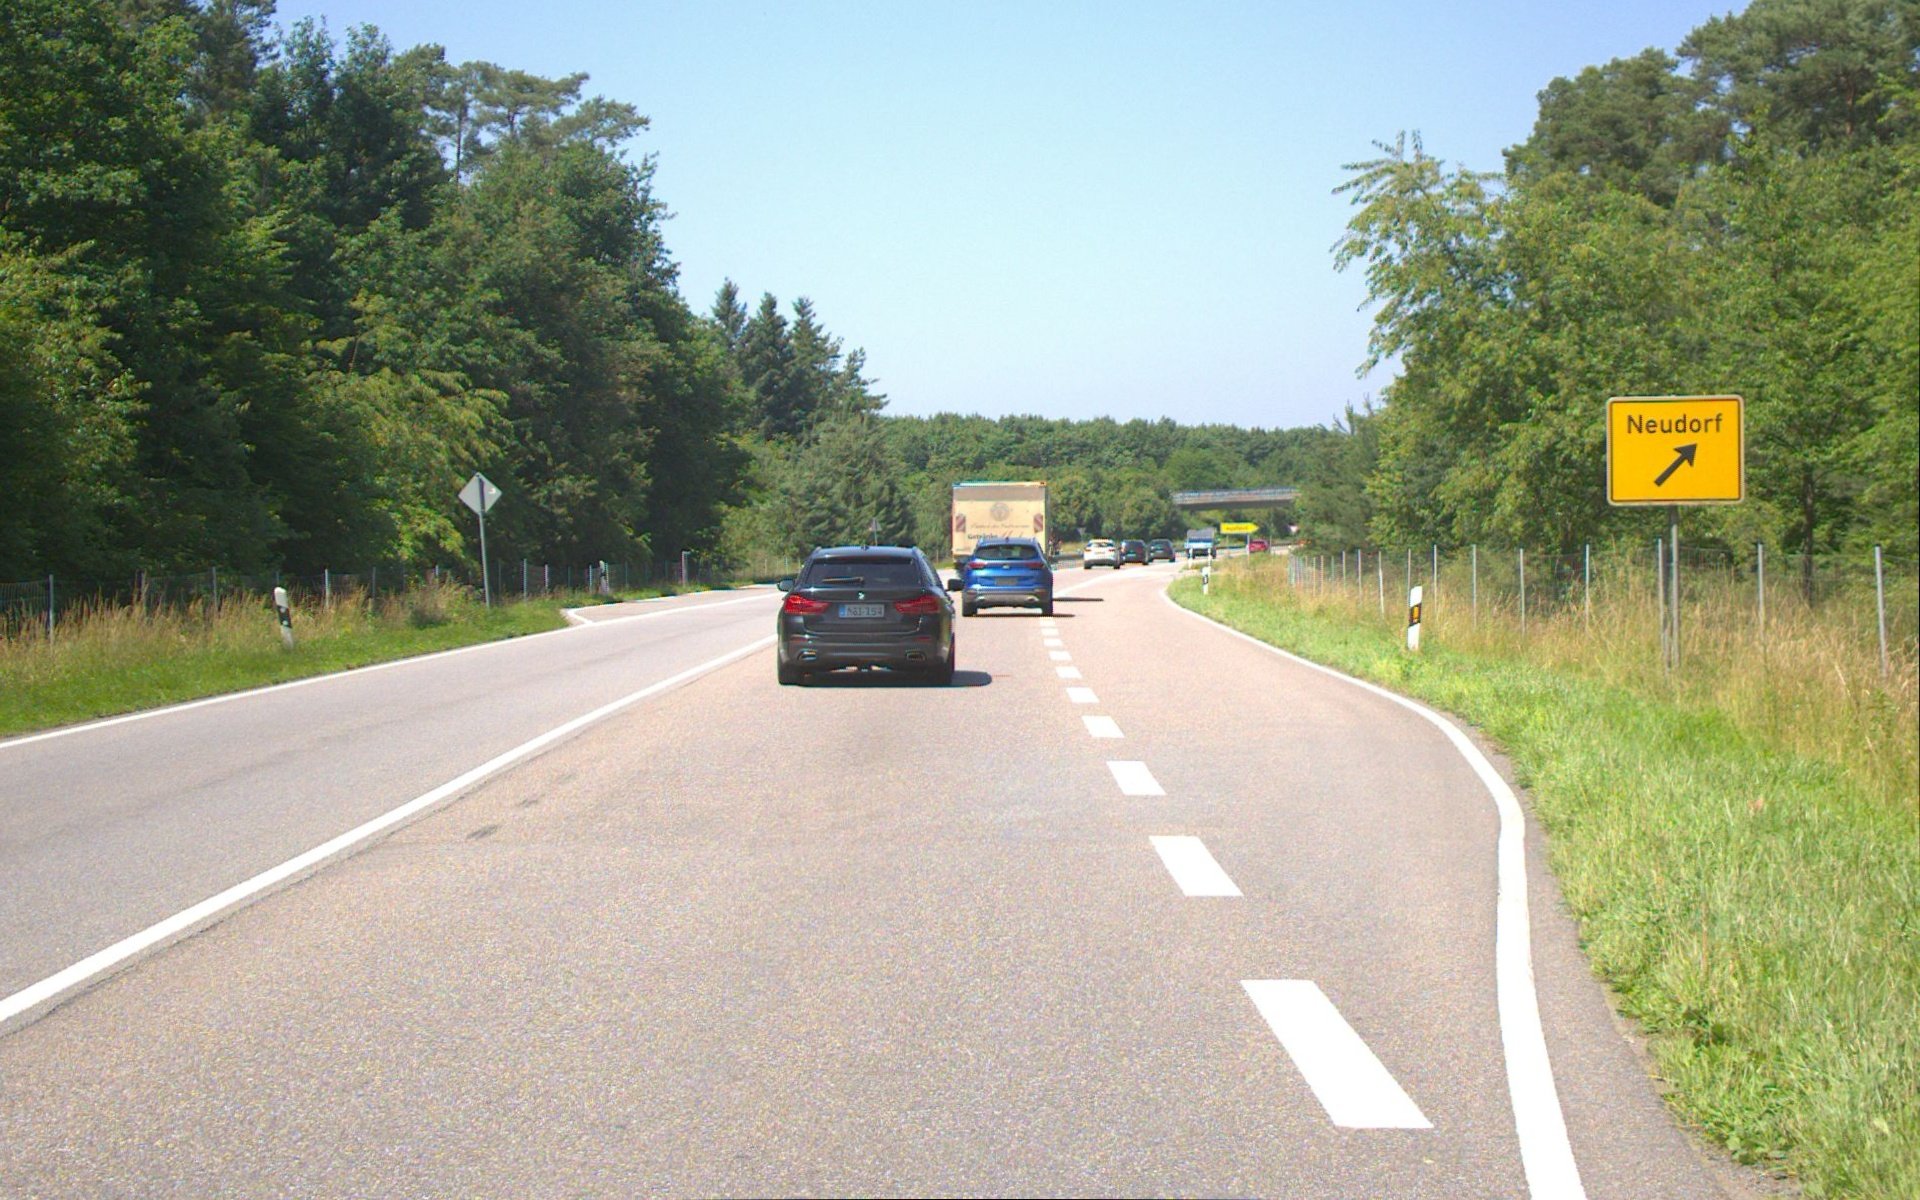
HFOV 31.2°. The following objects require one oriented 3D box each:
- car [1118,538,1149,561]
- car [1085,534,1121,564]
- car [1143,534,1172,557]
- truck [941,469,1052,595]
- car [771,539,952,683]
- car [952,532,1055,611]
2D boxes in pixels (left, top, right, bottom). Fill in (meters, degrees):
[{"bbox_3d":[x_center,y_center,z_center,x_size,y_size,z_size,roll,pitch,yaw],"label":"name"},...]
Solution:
[{"bbox_3d":[11.138,-3.262,220.692,1.994,1.415,4.000,1,1,3],"label":"car"},{"bbox_3d":[7.968,-2.863,191.778,1.863,1.600,4.000,-2,1,1],"label":"car"},{"bbox_3d":[14.167,-3.918,246.600,1.994,1.631,4.000,-1,1,4],"label":"car"},{"bbox_3d":[1.010,-1.902,95.543,2.965,3.376,6.438,0,1,1],"label":"truck"},{"bbox_3d":[-1.124,0.075,37.476,1.820,1.465,4.001,-1,1,-4],"label":"car"},{"bbox_3d":[0.875,-0.612,71.359,1.947,1.536,4.000,-1,1,-2],"label":"car"}]
